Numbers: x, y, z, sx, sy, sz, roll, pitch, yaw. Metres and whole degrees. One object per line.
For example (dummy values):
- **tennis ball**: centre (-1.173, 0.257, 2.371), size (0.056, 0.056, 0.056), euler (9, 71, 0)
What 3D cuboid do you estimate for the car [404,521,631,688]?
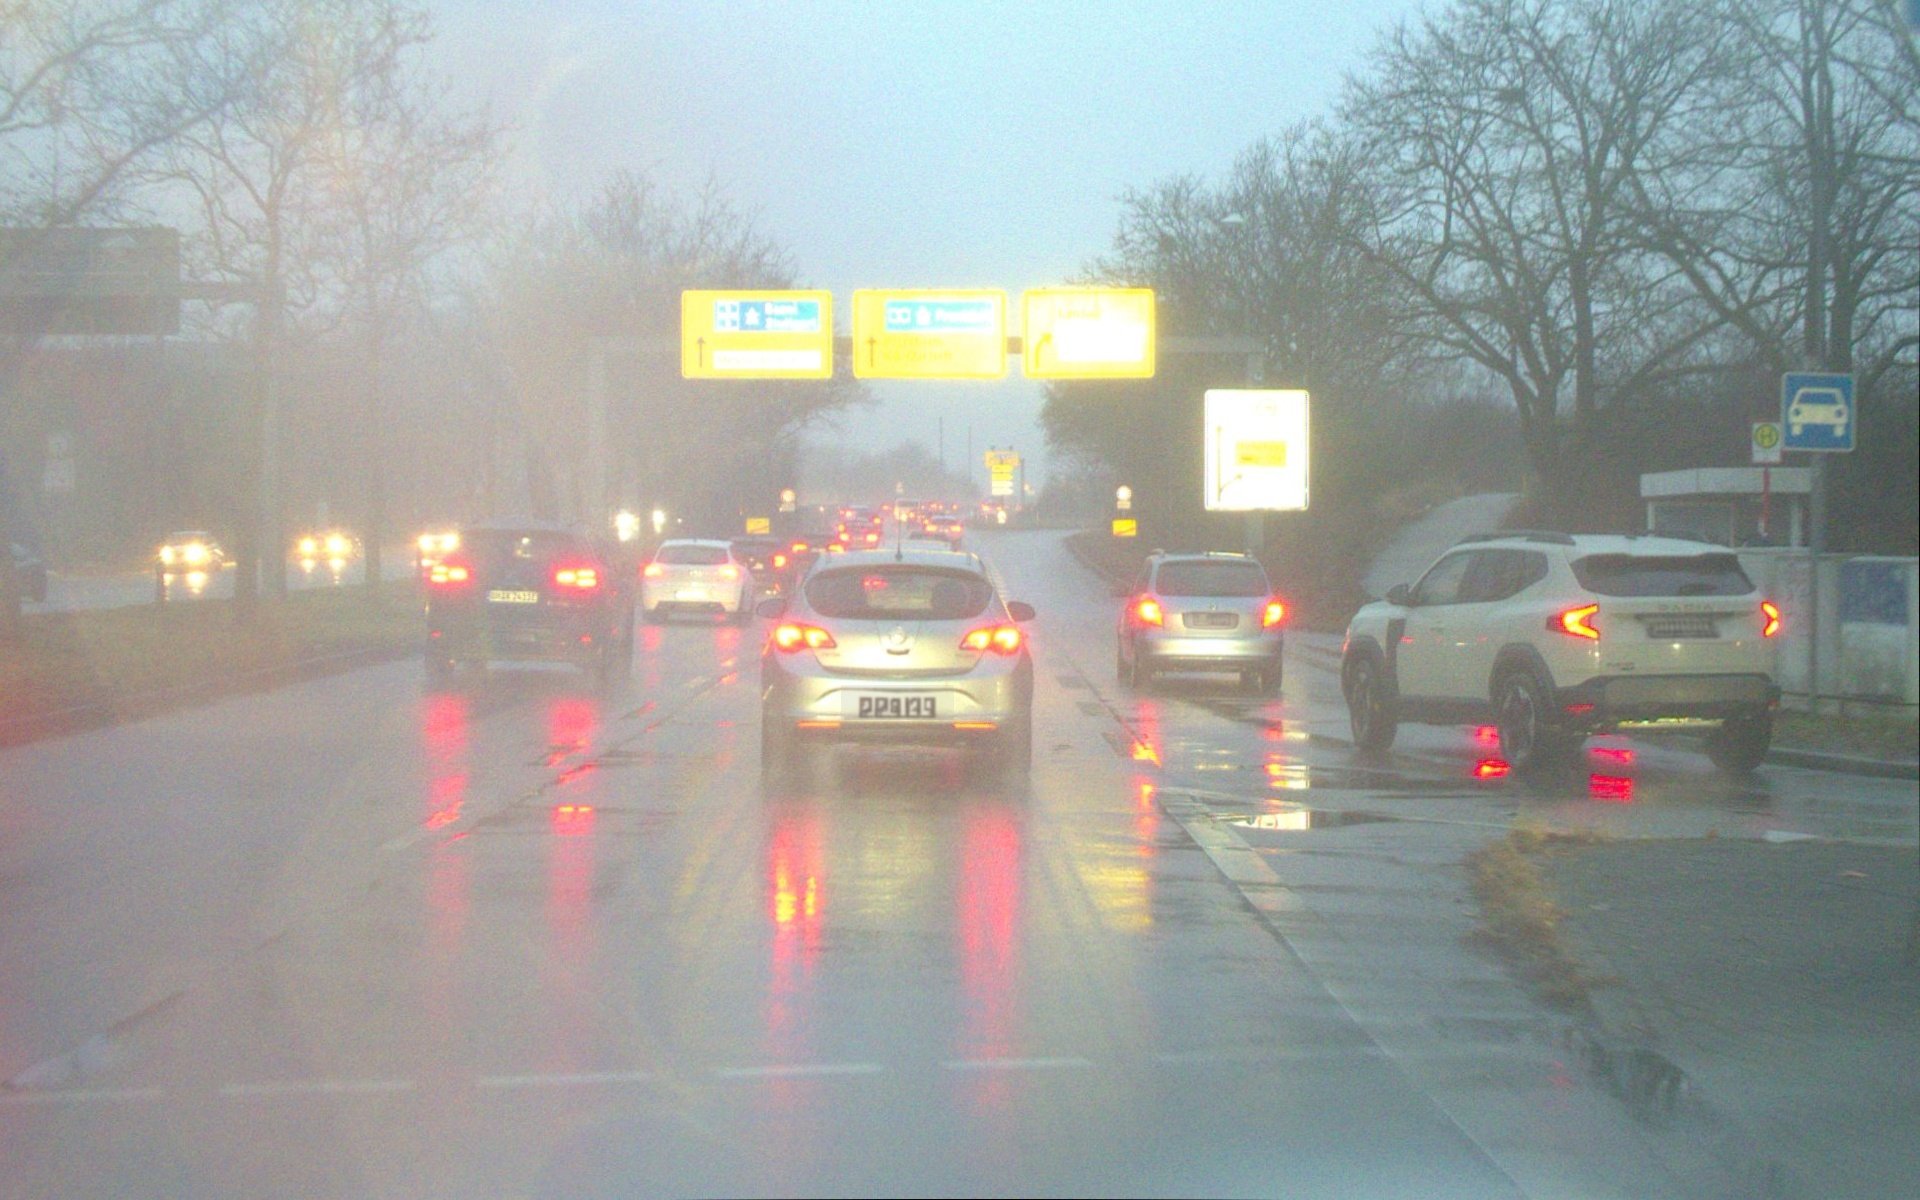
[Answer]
- **car**: centre (-4.561, 0.021, 35.930), size (1.822, 1.642, 4.000), euler (0, 1, 0)

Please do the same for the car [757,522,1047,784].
- **car**: centre (-0.350, 0.298, 23.823), size (1.822, 1.642, 4.466), euler (0, 1, 0)

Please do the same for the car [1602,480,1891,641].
- **car**: centre (8.456, -0.435, 37.359), size (1.966, 1.614, 4.548), euler (-1, 1, -2)

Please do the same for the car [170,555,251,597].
- **car**: centre (-27.798, -0.902, 127.603), size (1.993, 1.472, 4.072), euler (1, 1, 1)

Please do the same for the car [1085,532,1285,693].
- **car**: centre (2.447, 0.127, 38.430), size (1.933, 1.642, 4.466), euler (2, 0, 0)

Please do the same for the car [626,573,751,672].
- **car**: centre (-4.676, 0.363, 59.590), size (1.822, 1.642, 4.000), euler (0, 1, 0)

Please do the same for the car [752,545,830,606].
- **car**: centre (-3.761, -0.560, 77.026), size (1.505, 1.334, 4.000), euler (0, 1, 0)

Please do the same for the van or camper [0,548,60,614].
- **van or camper**: centre (-21.797, -0.458, 77.018), size (1.904, 1.441, 5.158), euler (1, 1, 0)

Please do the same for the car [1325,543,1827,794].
- **car**: centre (4.232, 0.410, 24.395), size (1.815, 1.612, 4.412), euler (0, 1, -15)
